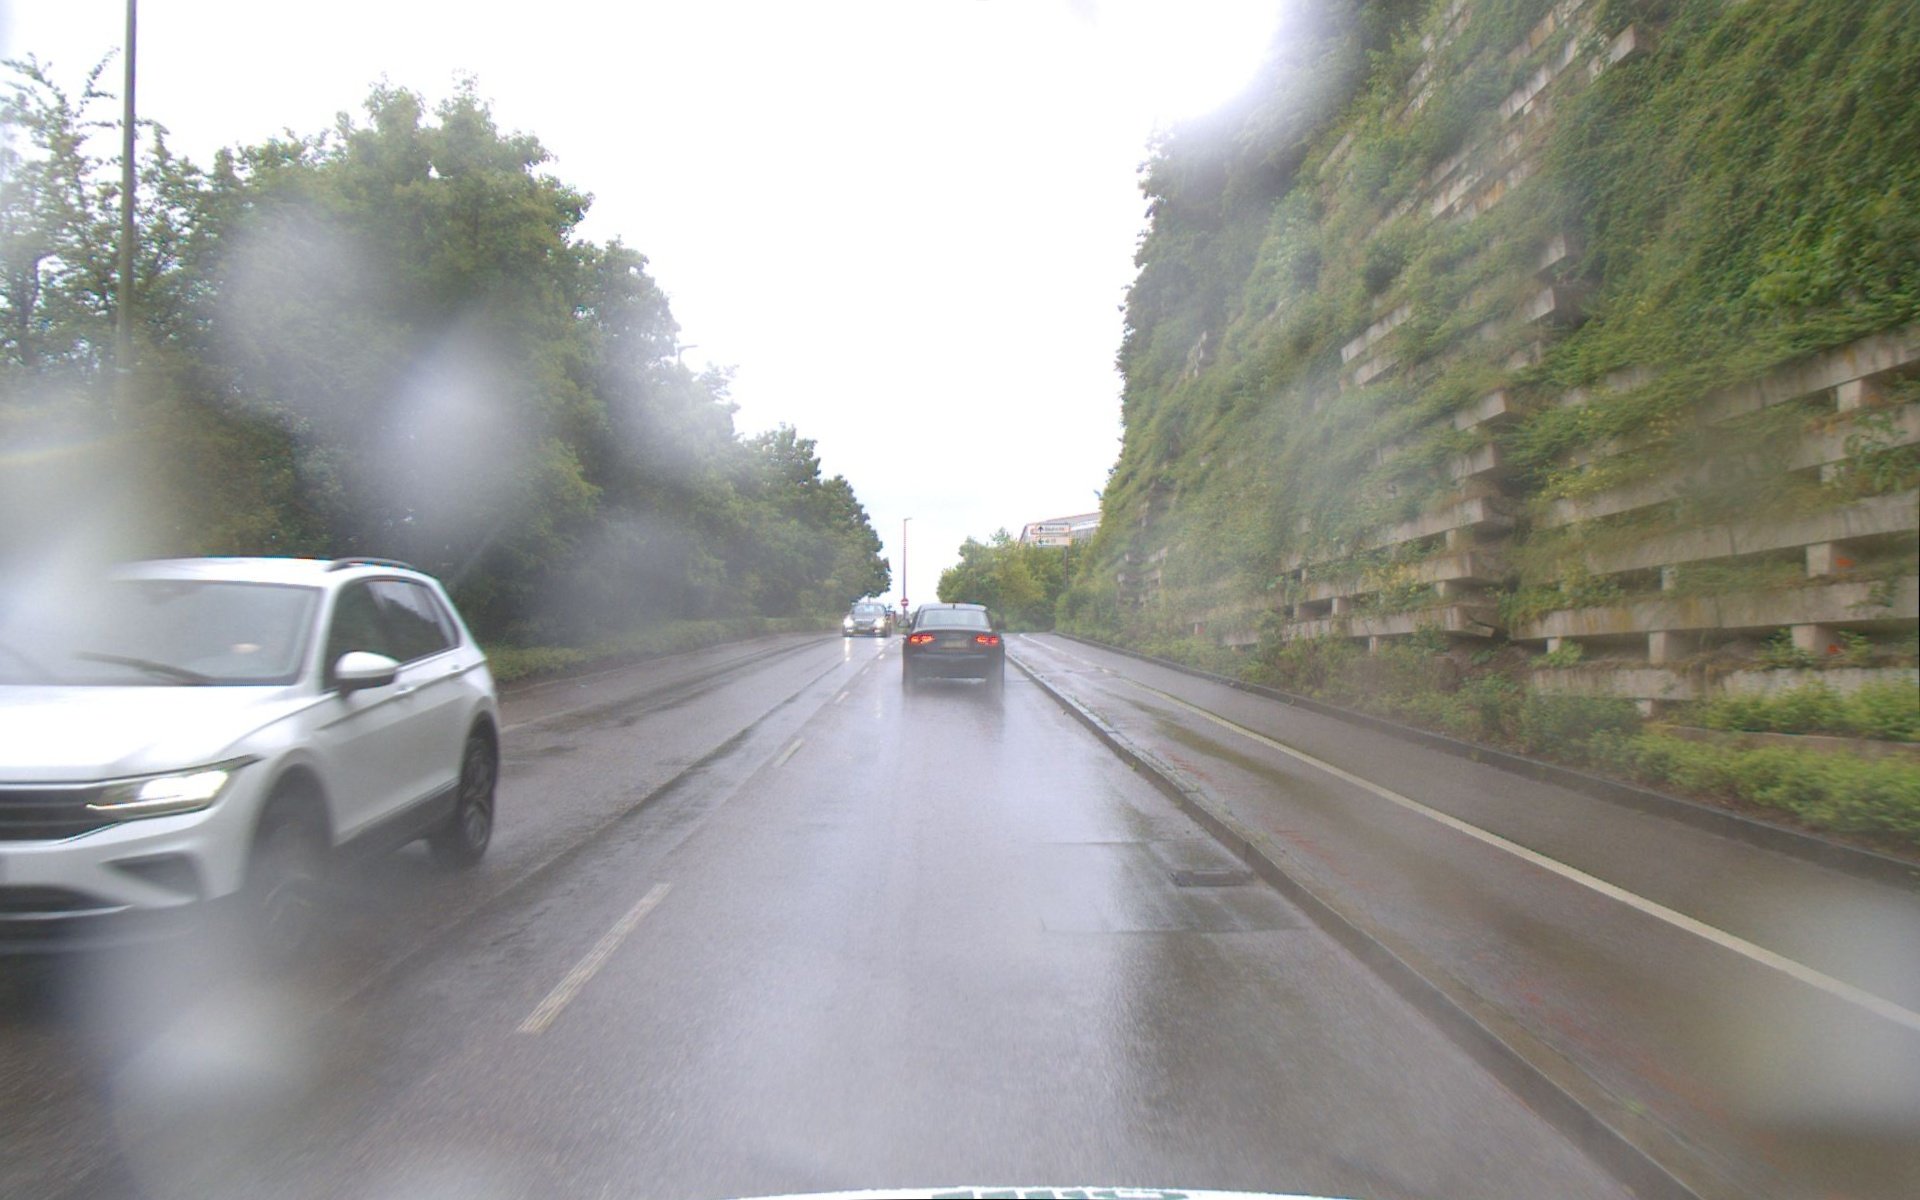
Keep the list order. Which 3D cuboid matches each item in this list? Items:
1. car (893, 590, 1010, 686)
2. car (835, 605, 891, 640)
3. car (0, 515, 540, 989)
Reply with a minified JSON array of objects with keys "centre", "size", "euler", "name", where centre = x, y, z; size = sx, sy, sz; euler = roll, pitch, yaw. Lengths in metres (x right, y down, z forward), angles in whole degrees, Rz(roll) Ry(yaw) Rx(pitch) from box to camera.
[{"centre":[-0.078,0.615,29.107],"size":[1.853,1.518,4.208],"euler":[1,0,2],"name":"car"},{"centre":[-3.982,0.908,68.540],"size":[1.952,1.388,4.252],"euler":[1,0,1],"name":"car"},{"centre":[-3.357,0.519,7.801],"size":[1.786,1.643,4.092],"euler":[1,0,-2],"name":"car"}]
